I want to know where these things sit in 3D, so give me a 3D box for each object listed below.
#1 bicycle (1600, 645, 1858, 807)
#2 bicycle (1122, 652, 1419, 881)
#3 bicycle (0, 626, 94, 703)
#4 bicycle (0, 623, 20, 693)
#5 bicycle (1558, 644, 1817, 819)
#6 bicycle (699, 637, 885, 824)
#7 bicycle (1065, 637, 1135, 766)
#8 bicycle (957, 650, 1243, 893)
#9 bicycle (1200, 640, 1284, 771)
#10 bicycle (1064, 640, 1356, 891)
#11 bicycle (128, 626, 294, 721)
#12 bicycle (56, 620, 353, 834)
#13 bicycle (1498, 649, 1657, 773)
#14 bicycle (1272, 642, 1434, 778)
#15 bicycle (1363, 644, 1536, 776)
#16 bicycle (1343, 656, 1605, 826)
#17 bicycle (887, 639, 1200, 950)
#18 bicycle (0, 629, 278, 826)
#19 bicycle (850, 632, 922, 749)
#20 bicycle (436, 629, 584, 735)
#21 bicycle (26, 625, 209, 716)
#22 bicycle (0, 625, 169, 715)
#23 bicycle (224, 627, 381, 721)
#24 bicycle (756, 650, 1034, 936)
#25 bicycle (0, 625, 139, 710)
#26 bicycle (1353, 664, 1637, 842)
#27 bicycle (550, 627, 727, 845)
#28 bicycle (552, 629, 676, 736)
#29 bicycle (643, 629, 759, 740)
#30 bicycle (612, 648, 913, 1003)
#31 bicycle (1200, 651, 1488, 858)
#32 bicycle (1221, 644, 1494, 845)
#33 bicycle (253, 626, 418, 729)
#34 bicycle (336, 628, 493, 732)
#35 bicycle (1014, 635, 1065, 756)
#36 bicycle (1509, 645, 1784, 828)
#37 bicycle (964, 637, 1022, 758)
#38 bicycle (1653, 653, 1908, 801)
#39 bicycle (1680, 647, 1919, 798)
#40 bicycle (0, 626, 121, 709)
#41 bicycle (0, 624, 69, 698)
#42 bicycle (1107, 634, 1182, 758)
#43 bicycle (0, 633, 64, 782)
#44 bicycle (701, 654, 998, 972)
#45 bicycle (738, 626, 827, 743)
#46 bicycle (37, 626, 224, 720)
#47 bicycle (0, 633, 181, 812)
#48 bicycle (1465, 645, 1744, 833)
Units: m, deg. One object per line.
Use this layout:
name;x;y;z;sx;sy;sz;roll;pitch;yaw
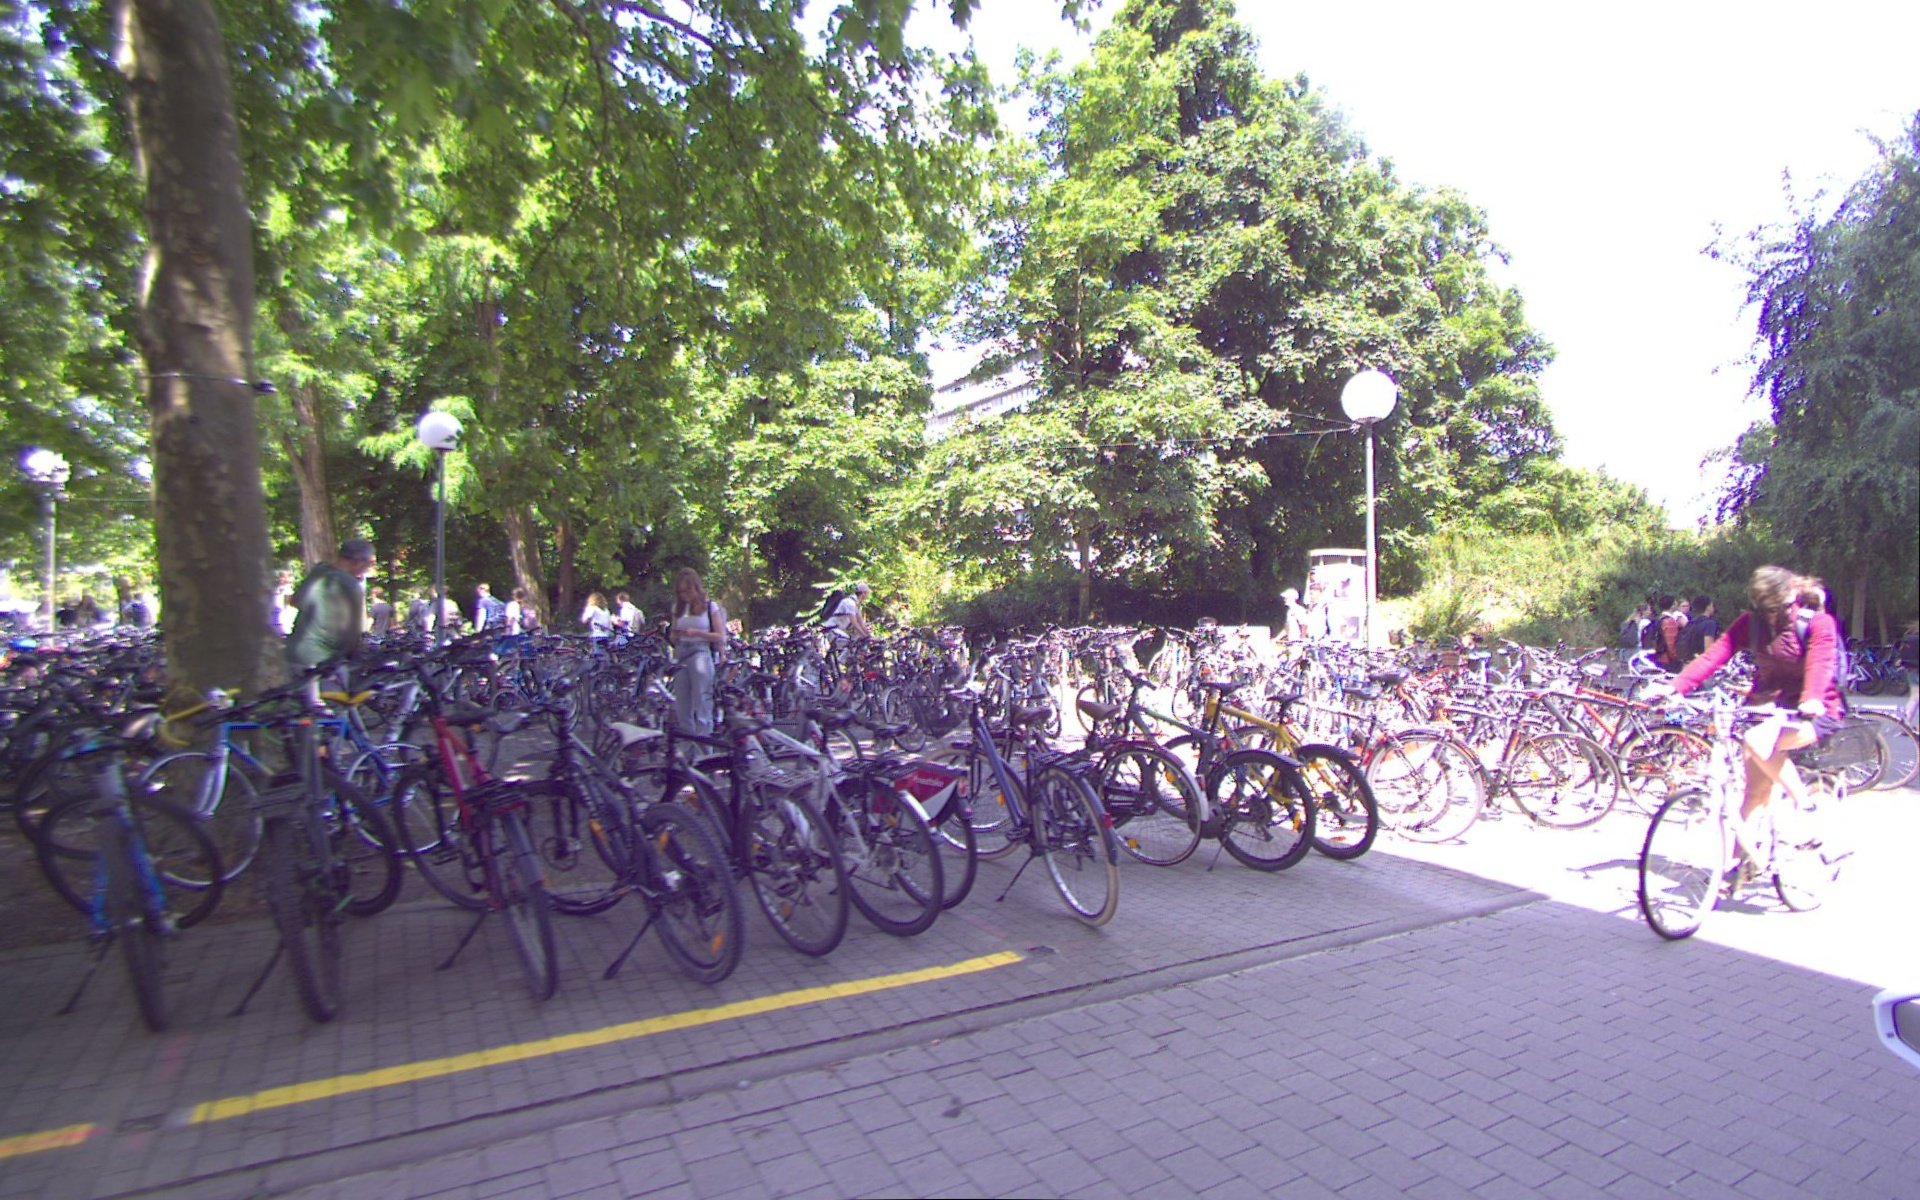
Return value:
bicycle;6.513;1.012;8.603;0.469;1.184;1.682;1;0;-35
bicycle;1.833;0.924;6.147;0.578;1.123;1.679;1;0;-41
bicycle;-13.952;0.938;14.746;0.465;1.098;1.858;1;0;22
bicycle;-15.853;0.923;15.554;0.465;1.098;1.858;1;0;22
bicycle;5.801;0.990;8.151;0.466;1.184;1.775;1;0;-17
bicycle;-1.244;0.854;7.165;0.499;1.123;1.679;1;0;-41
bicycle;1.342;0.939;9.833;0.465;1.098;1.700;1;0;1
bicycle;0.745;0.894;5.813;0.561;1.123;1.679;1;0;-41
bicycle;2.710;0.973;9.789;0.464;1.098;1.700;1;0;5
bicycle;1.390;0.868;5.872;0.470;1.203;1.679;1;0;-41
bicycle;-9.516;0.899;12.841;0.465;1.098;1.699;1;0;22
bicycle;-4.945;0.758;6.734;0.564;1.215;1.700;1;0;6
bicycle;5.982;1.034;9.715;1.678;1.098;0.505;1;0;-27
bicycle;3.644;0.978;9.464;0.466;1.098;1.694;1;0;-16
bicycle;4.695;1.012;9.756;0.466;1.098;1.693;1;0;-17
bicycle;3.758;0.998;7.456;1.667;1.076;0.474;1;0;26
bicycle;0.334;0.833;4.962;0.532;1.214;1.681;1;0;-38
bicycle;-5.546;0.784;6.833;0.492;1.123;1.700;1;0;6
bicycle;-0.757;0.916;10.696;0.464;1.098;1.700;1;0;6
bicycle;-5.170;0.903;11.655;0.465;1.098;1.699;1;0;22
bicycle;-11.158;0.900;13.387;0.465;1.098;1.858;1;0;22
bicycle;-11.849;0.898;13.537;0.465;1.098;1.858;1;0;22
bicycle;-8.352;0.905;12.834;0.465;1.098;1.699;1;0;22
bicycle;-0.393;0.858;5.047;0.470;1.123;1.679;1;0;-41
bicycle;-12.600;0.904;13.945;0.465;1.098;1.858;1;0;22
bicycle;3.640;1.010;6.954;1.667;1.032;0.474;1;0;26
bicycle;-2.193;0.821;6.719;0.499;1.236;1.679;1;0;-41
bicycle;-3.938;0.900;11.567;0.464;1.098;1.700;1;0;14
bicycle;-2.816;0.885;11.094;0.464;1.098;1.700;1;0;14
bicycle;-0.917;0.827;4.304;0.470;1.161;1.679;1;0;-41
bicycle;2.454;0.935;6.516;1.670;1.123;0.473;1;0;33
bicycle;2.701;0.930;6.911;1.670;1.173;0.473;1;0;33
bicycle;-7.337;0.877;11.888;0.465;1.098;1.699;1;0;22
bicycle;-6.355;0.899;11.812;0.465;1.098;1.699;1;0;22
bicycle;0.840;0.942;10.458;0.464;1.098;1.700;1;0;6
bicycle;5.226;0.981;7.742;0.470;1.184;1.678;1;0;-42
bicycle;0.365;0.958;10.411;0.464;1.098;1.700;1;0;6
bicycle;7.204;1.065;8.907;0.469;1.106;1.682;1;0;-35
bicycle;7.615;1.050;9.123;0.470;1.174;1.681;1;0;-38
bicycle;-13.062;0.934;14.187;0.465;1.098;1.858;1;0;22
bicycle;-14.791;0.930;15.251;0.465;1.098;1.858;1;0;22
bicycle;1.837;0.925;10.188;0.465;1.098;1.700;1;0;1
bicycle;-7.684;0.828;7.370;0.492;1.123;1.701;1;0;10
bicycle;-0.578;0.856;4.624;0.470;1.123;1.679;1;0;-41
bicycle;-1.848;0.850;10.658;0.464;1.098;1.700;1;0;6
bicycle;-10.705;0.900;13.049;0.465;1.098;1.858;1;0;22
bicycle;-6.453;0.819;7.050;0.492;1.123;1.700;1;0;6
bicycle;4.752;0.966;7.492;1.676;1.184;0.471;1;0;44
